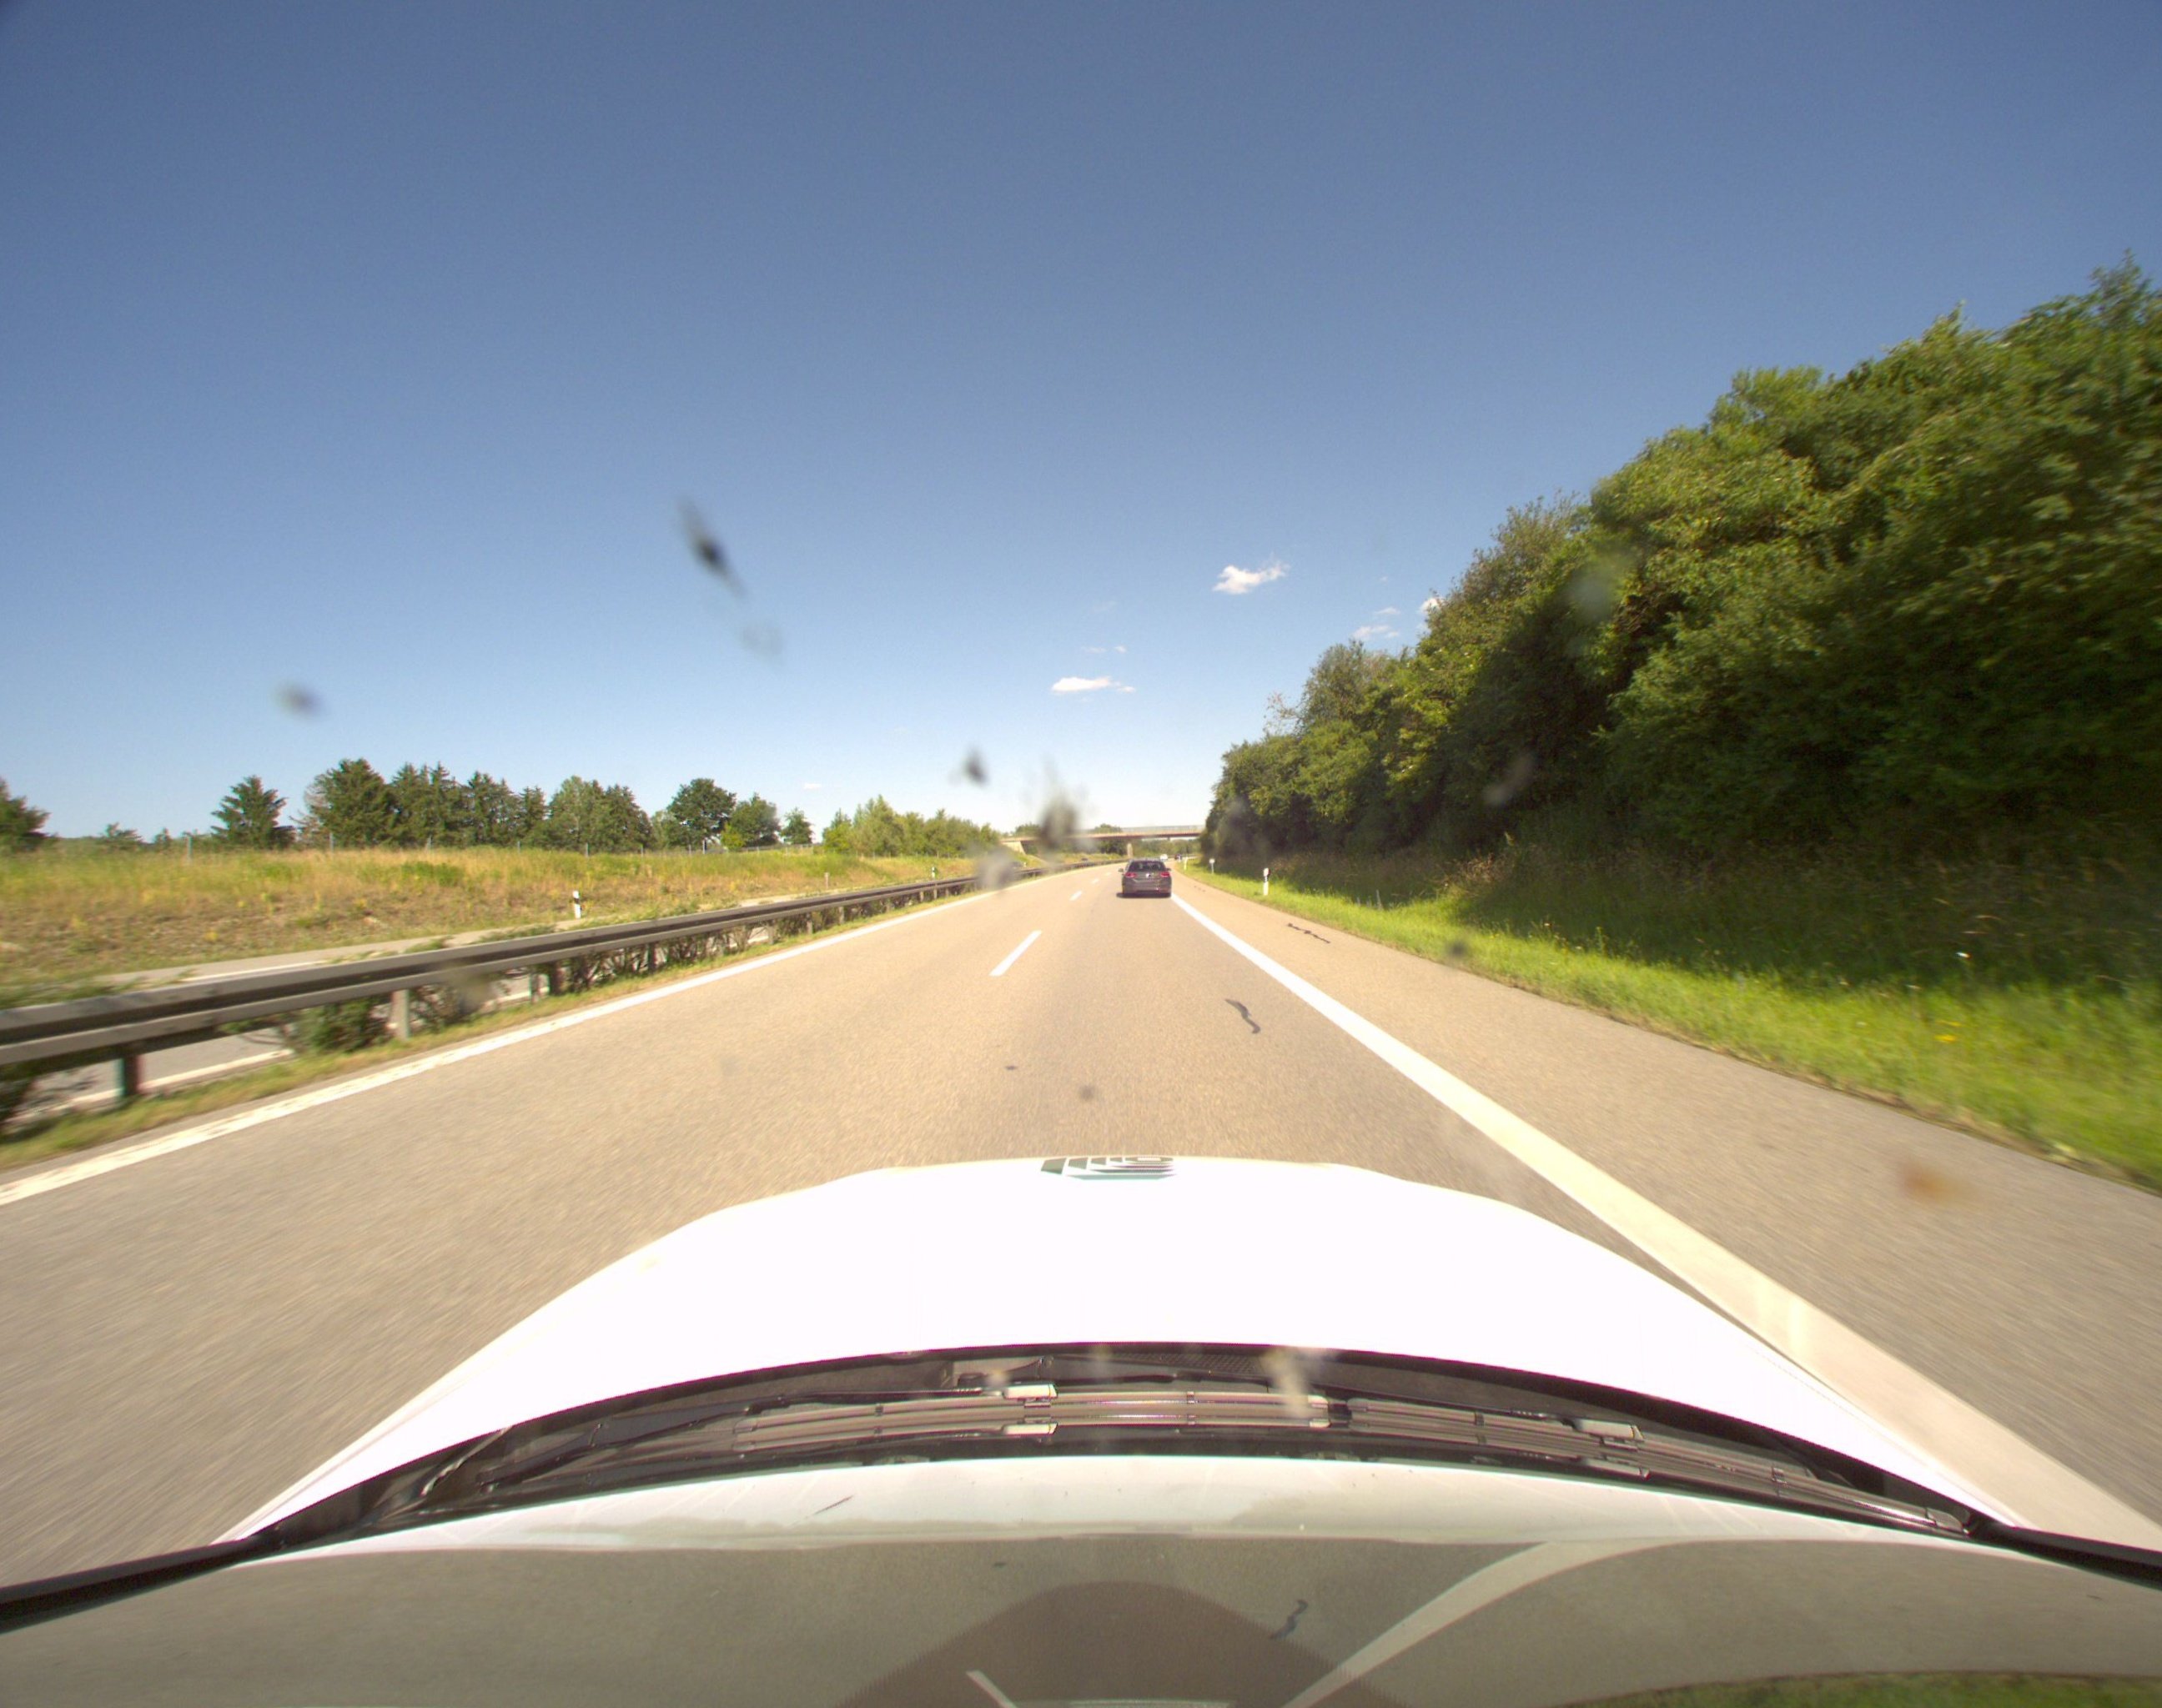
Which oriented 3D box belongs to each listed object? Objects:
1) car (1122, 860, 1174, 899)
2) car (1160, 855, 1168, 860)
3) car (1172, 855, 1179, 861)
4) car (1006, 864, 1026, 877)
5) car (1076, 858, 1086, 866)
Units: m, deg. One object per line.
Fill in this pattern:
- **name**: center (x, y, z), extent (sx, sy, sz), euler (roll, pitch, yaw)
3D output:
- **car**: center (2.436, 0.891, 30.336), extent (1.783, 1.344, 4.003), euler (0, 0, 3)
- **car**: center (21.750, 0.917, 212.750), extent (1.998, 1.345, 4.003), euler (0, -2, 3)
- **car**: center (24.618, 1.103, 211.912), extent (1.704, 1.387, 3.356), euler (0, -2, 2)
- **car**: center (-7.637, 1.917, 95.796), extent (1.824, 1.508, 4.544), euler (0, -1, 2)
- **car**: center (-0.035, 1.581, 163.627), extent (1.824, 1.508, 4.544), euler (0, -1, 2)
